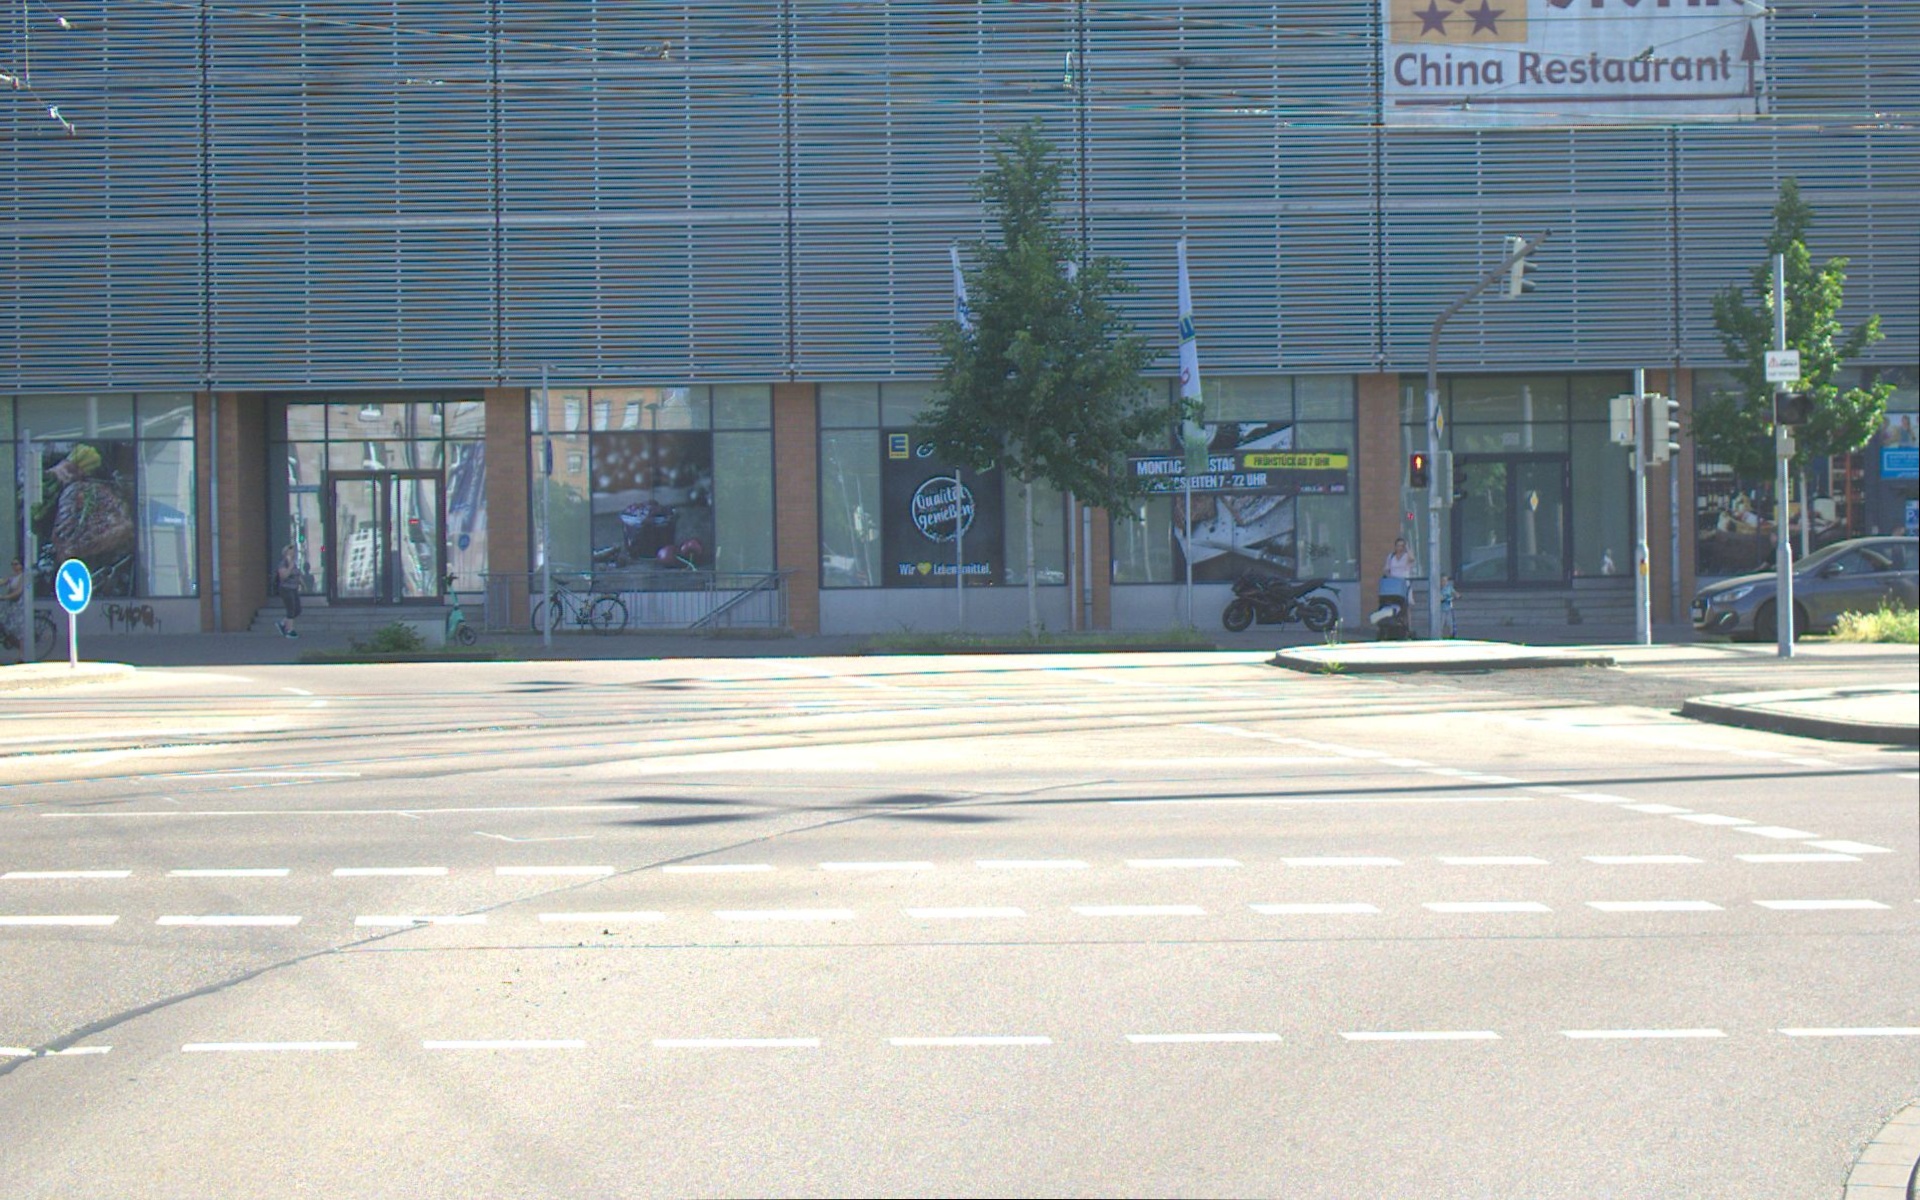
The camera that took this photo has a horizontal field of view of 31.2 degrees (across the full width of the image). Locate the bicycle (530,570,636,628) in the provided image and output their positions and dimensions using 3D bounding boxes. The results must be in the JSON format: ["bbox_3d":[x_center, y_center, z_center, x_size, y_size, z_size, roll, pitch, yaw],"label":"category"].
[{"bbox_3d":[-6.645,-0.021,60.546,1.815,0.986,0.558,-1,2,-10],"label":"bicycle"}]

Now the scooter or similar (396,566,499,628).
[{"bbox_3d":[-9.074,-0.050,60.929,1.792,1.062,0.613,0,2,-8],"label":"scooter or similar"}]

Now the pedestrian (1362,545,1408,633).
[{"bbox_3d":[6.835,-0.180,55.272,0.655,1.409,0.849,1,0,10],"label":"pedestrian"}]

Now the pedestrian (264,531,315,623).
[{"bbox_3d":[-11.832,-0.406,60.701,0.661,1.595,0.594,1,0,18],"label":"pedestrian"}]

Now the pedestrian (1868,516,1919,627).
[{"bbox_3d":[15.979,-0.483,58.228,0.950,1.822,0.845,-2,-3,5],"label":"pedestrian"}]

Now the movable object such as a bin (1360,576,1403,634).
[{"bbox_3d":[6.717,0.075,54.811,0.613,0.901,0.968,1,0,10],"label":"movable object such as a bin"}]

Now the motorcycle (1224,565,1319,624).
[{"bbox_3d":[5.499,-0.105,60.638,1.640,1.001,0.446,1,1,6],"label":"motorcycle"}]

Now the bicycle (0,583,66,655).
[{"bbox_3d":[-15.241,0.306,54.865,0.568,1.082,1.859,1,3,43],"label":"bicycle"}]

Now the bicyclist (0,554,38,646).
[{"bbox_3d":[-15.275,-0.003,54.785,0.675,1.422,0.847,1,3,43],"label":"bicyclist"}]

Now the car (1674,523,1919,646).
[{"bbox_3d":[11.839,-0.168,45.867,4.146,1.464,1.841,3,0,-1],"label":"car"}]
